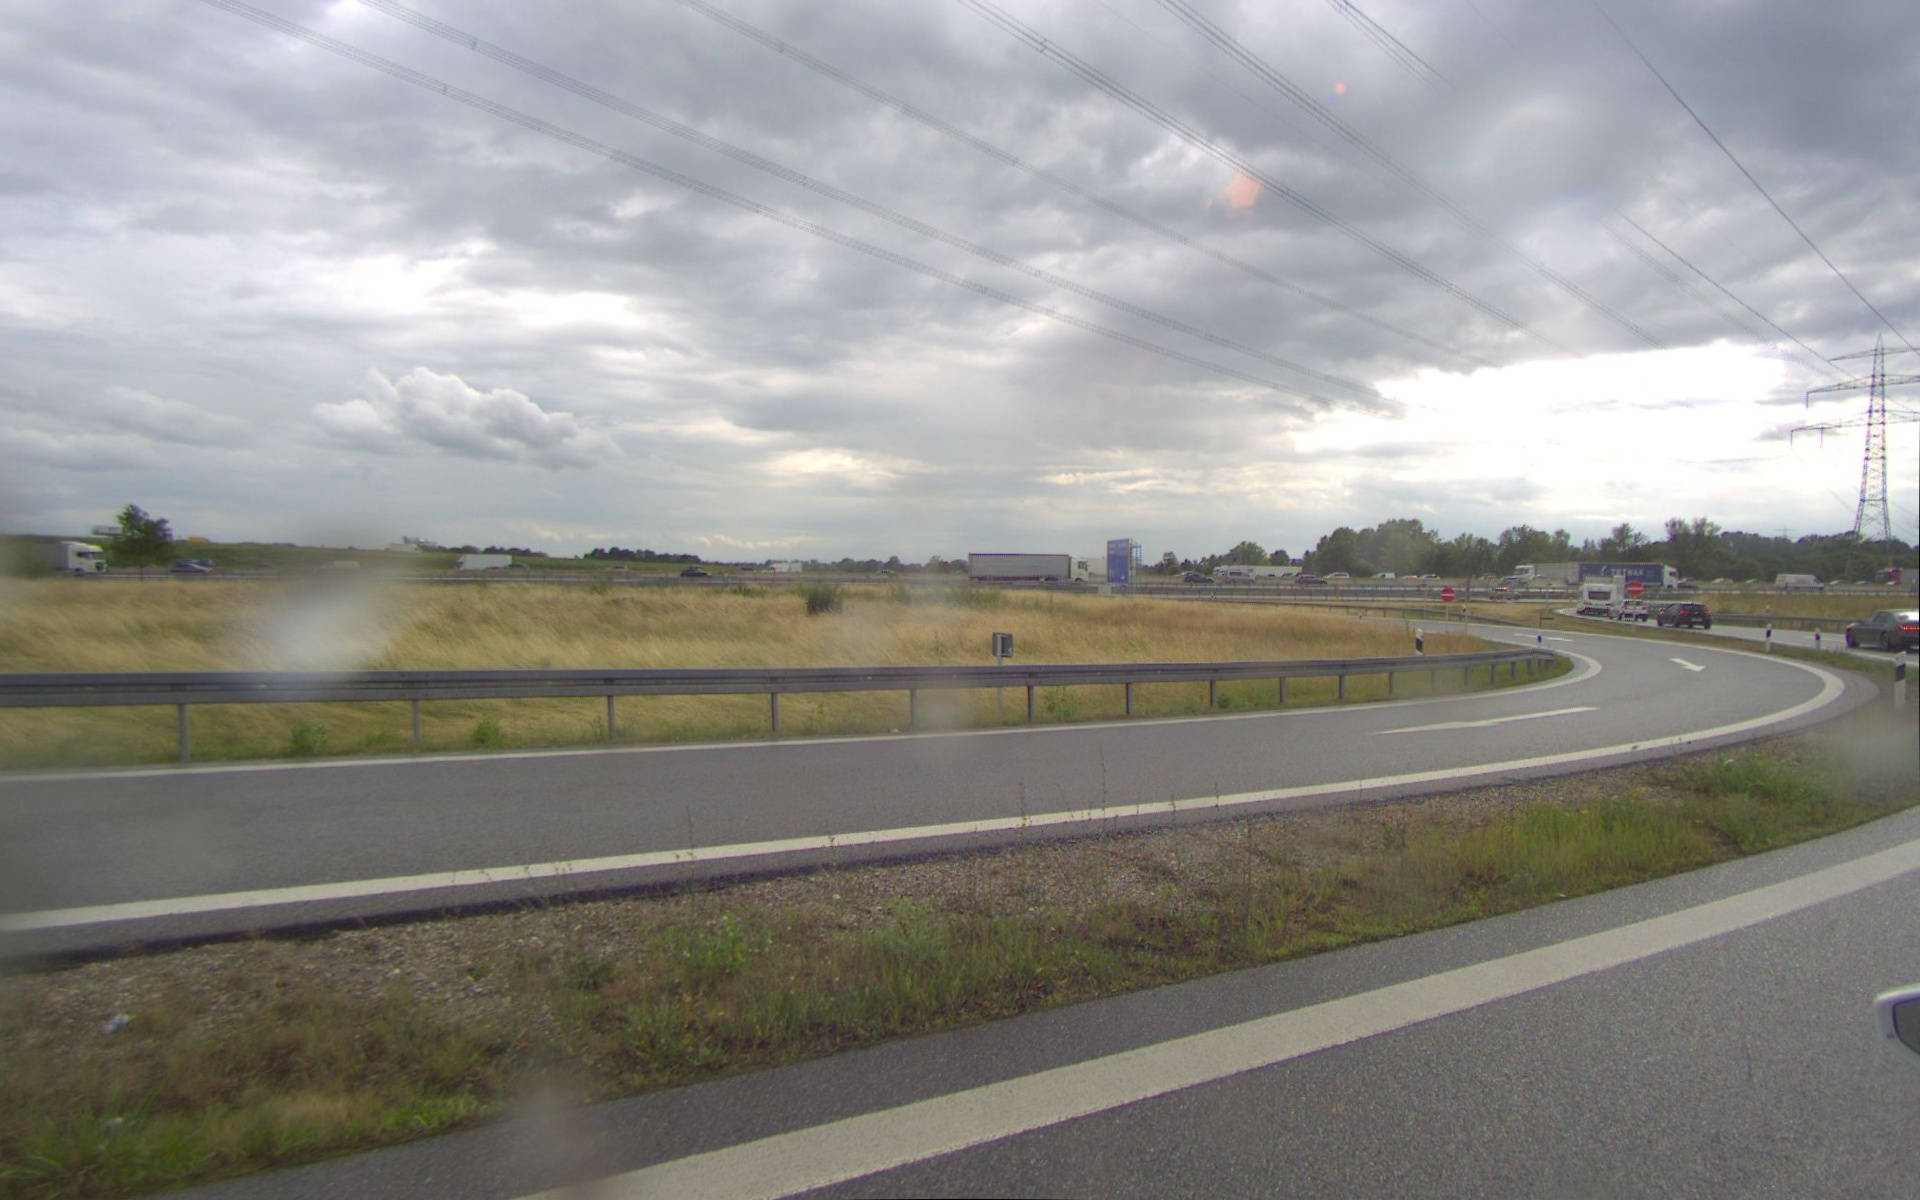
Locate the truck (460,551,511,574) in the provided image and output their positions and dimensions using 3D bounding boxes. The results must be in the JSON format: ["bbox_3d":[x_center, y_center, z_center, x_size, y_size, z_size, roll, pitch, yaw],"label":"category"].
[{"bbox_3d":[-74.936,-5.929,158.704,6.976,3.518,1.997,-1,3,-7],"label":"truck"}]

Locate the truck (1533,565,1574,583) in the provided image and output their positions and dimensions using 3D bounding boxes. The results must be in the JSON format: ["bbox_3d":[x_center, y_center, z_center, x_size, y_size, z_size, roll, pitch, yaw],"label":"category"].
[{"bbox_3d":[107.941,-4.803,182.561,6.349,3.068,2.316,-1,3,-8],"label":"truck"}]

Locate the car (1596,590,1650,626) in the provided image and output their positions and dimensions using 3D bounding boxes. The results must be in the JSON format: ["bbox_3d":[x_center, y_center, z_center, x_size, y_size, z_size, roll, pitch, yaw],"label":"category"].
[{"bbox_3d":[47.518,0.531,72.111,2.313,2.338,5.125,0,3,22],"label":"car"}]

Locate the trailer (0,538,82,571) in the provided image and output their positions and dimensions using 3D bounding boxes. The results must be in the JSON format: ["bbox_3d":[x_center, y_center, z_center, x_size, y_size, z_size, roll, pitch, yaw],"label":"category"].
[{"bbox_3d":[-112.501,-5.423,118.904,13.408,3.834,2.854,1,2,-8],"label":"trailer"}]

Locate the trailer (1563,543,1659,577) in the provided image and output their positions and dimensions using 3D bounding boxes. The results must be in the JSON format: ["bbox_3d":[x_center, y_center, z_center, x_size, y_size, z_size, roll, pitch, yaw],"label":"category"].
[{"bbox_3d":[95.458,-5.847,147.355,13.055,4.699,3.053,-1,3,-8],"label":"trailer"}]

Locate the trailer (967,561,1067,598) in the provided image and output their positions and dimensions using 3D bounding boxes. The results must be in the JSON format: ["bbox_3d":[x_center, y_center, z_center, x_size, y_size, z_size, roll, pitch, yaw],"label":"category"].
[{"bbox_3d":[7.752,-2.883,136.530,13.138,4.679,3.480,-1,3,-5],"label":"trailer"}]

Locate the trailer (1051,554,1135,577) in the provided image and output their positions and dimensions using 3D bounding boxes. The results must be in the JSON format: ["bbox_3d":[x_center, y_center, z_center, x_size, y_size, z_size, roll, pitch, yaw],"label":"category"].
[{"bbox_3d":[22.707,-5.898,171.742,13.840,3.721,2.855,1,2,-8],"label":"trailer"}]

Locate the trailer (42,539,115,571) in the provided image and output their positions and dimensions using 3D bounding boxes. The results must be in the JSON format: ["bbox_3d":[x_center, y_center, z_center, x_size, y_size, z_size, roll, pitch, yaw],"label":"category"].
[{"bbox_3d":[-105.243,-5.387,119.973,5.790,3.835,2.844,-1,3,-9],"label":"trailer"}]

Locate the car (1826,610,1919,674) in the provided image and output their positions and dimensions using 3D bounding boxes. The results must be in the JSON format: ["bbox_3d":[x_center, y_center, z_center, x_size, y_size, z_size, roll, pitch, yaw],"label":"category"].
[{"bbox_3d":[35.298,1.538,38.169,2.088,2.045,5.529,2,2,25],"label":"car"}]

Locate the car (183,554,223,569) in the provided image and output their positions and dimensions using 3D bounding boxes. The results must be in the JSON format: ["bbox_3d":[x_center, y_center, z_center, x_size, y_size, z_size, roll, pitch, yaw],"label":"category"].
[{"bbox_3d":[-106.777,-5.426,141.682,3.924,2.041,1.998,-1,3,-5],"label":"car"}]

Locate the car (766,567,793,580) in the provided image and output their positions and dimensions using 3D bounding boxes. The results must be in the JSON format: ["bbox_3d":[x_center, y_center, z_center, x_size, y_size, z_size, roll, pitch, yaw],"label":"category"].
[{"bbox_3d":[-27.575,-4.121,153.508,3.924,1.874,1.891,-1,3,-5],"label":"car"}]

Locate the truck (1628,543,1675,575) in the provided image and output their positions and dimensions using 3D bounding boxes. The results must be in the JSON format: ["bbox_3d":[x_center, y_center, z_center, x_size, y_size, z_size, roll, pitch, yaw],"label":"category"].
[{"bbox_3d":[102.022,-6.085,148.277,4.980,4.541,3.073,-1,3,-9],"label":"truck"}]

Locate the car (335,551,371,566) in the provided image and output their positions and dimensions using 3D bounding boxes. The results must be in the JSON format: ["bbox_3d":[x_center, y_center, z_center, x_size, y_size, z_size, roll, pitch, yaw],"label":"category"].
[{"bbox_3d":[-87.638,-5.969,145.090,3.924,2.041,1.998,-1,3,-5],"label":"car"}]

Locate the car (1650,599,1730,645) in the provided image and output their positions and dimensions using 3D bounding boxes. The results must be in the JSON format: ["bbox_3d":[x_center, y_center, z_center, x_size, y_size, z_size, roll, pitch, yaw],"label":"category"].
[{"bbox_3d":[42.369,1.212,58.451,2.312,2.338,5.127,0,3,19],"label":"car"}]

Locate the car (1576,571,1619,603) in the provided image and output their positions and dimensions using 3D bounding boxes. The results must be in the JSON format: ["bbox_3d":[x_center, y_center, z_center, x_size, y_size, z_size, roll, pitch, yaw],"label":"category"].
[{"bbox_3d":[64.673,-1.375,101.885,3.096,2.992,7.179,1,3,37],"label":"car"}]

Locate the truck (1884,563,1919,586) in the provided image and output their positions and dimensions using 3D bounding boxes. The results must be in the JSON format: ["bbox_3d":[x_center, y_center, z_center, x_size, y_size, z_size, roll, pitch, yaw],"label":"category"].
[{"bbox_3d":[178.811,-4.762,187.382,12.264,4.179,1.997,1,2,-7],"label":"truck"}]

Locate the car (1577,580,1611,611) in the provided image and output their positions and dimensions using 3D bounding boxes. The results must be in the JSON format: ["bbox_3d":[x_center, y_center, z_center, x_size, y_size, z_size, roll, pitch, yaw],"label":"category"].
[{"bbox_3d":[52.212,-0.382,82.763,2.318,2.338,5.114,1,3,32],"label":"car"}]

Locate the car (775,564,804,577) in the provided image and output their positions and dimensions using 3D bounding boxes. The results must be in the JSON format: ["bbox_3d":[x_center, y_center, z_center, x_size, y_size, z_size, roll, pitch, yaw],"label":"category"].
[{"bbox_3d":[-28.030,-4.846,165.075,4.667,2.041,1.997,-1,3,-8],"label":"car"}]

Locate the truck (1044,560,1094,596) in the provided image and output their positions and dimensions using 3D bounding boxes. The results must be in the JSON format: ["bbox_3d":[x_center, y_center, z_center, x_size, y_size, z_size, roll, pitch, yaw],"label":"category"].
[{"bbox_3d":[14.879,-3.050,137.157,6.150,4.628,3.347,-1,3,-6],"label":"truck"}]
